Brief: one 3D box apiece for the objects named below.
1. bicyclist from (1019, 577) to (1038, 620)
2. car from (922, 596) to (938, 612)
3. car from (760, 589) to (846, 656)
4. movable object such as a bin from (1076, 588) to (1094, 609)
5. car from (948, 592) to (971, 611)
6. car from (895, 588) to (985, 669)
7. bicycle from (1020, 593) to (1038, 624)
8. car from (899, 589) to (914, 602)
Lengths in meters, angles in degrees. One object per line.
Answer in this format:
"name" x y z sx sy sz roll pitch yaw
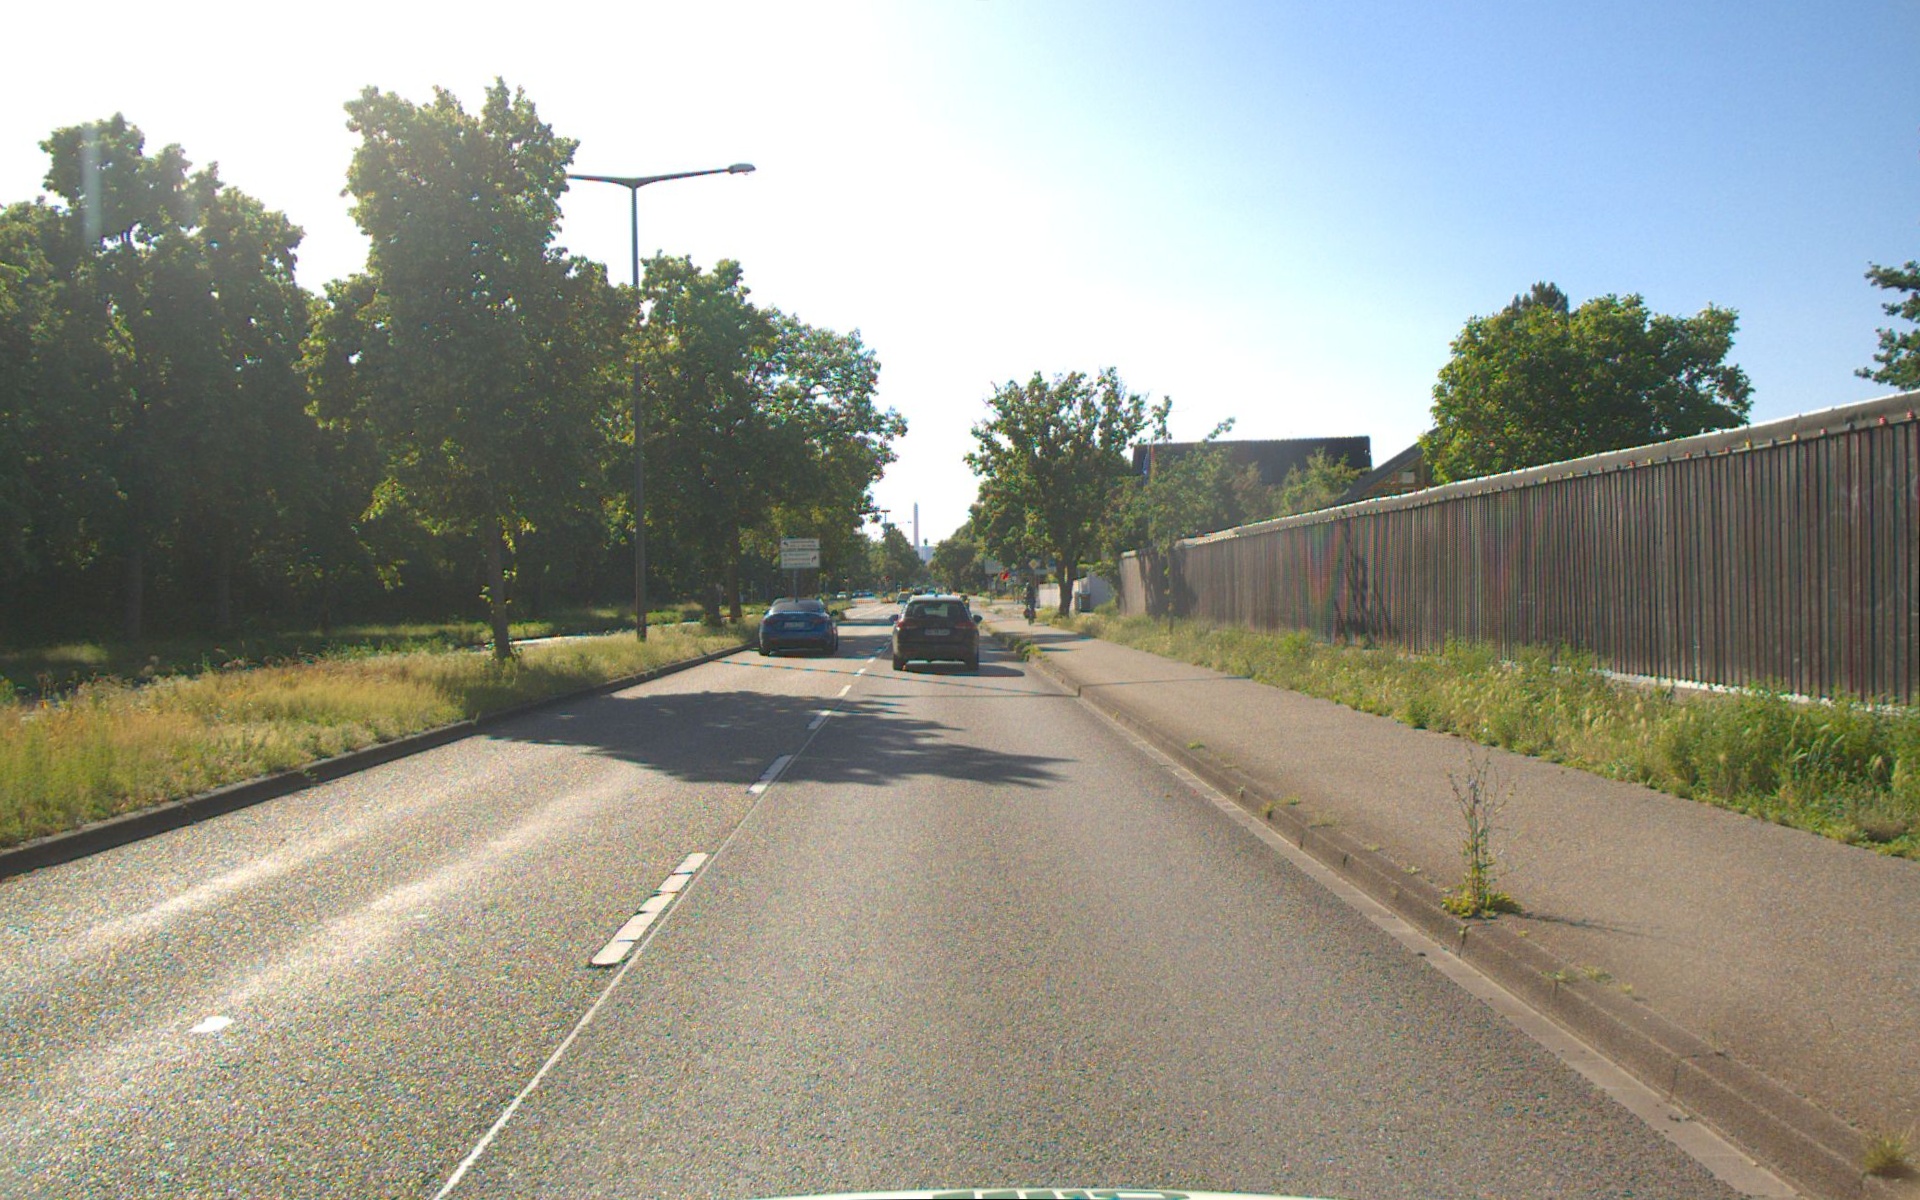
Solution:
"bicyclist" 2.782 -0.078 66.814 0.617 1.661 0.982 -4 1 5
"car" -3.302 0.435 179.347 1.697 1.613 3.839 1 0 -2
"car" -3.963 0.557 42.281 1.850 1.579 3.999 -1 0 -1
"movable object such as a bin" 7.539 -0.095 99.874 0.980 1.226 1.063 -3 -1 6
"car" -0.052 0.091 133.353 1.696 1.485 3.841 -1 0 2
"car" -0.417 0.556 33.927 1.720 1.535 3.807 -1 0 -1
"bicycle" 2.785 0.331 66.747 0.562 1.175 2.142 -4 1 5
"car" -6.624 -0.569 206.430 1.788 1.643 3.839 -2 1 -2
